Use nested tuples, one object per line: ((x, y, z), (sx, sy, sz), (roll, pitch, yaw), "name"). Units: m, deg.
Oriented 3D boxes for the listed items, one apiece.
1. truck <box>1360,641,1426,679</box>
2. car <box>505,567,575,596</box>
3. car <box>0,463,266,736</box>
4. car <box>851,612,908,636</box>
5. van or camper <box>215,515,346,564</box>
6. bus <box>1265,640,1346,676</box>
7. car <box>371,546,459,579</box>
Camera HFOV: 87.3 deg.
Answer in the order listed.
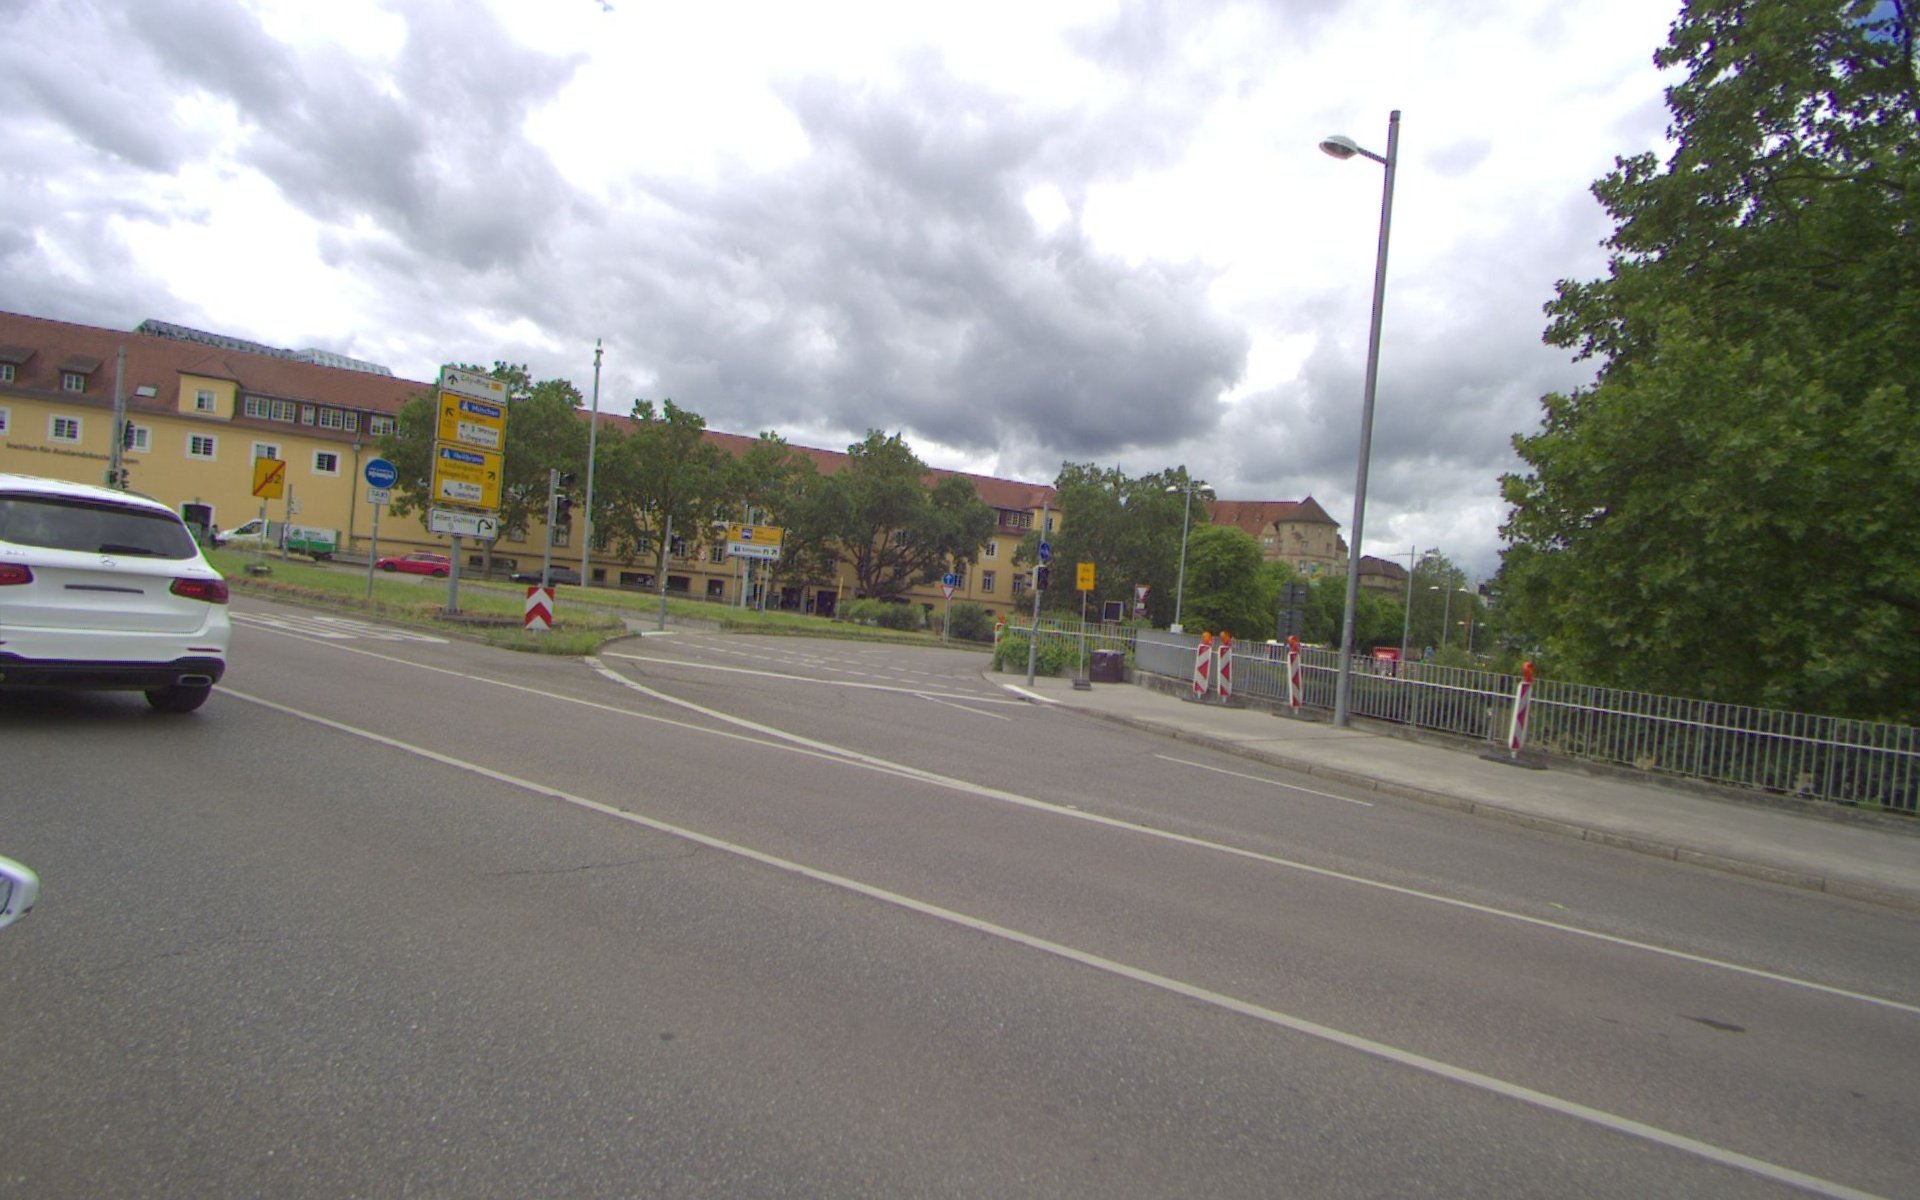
((47.431, 6.582, 110.026), (7.564, 3.410, 2.786), (7, -1, -35), "truck")
((-27.295, -1.197, 65.387), (4.041, 1.431, 1.648), (7, -1, -27), "car")
((-7.452, -0.178, 7.680), (4.305, 1.667, 1.822), (7, 0, 31), "car")
((-6.265, 1.864, 78.202), (4.041, 1.431, 1.648), (7, -1, -27), "car")
((-39.809, -3.507, 59.134), (5.945, 2.038, 2.009), (7, 0, -23), "van or camper")
((36.891, 6.228, 107.221), (9.570, 2.885, 2.549), (7, -1, -32), "bus")
((-33.552, -2.288, 62.086), (4.637, 1.438, 1.586), (7, -1, -27), "car")
